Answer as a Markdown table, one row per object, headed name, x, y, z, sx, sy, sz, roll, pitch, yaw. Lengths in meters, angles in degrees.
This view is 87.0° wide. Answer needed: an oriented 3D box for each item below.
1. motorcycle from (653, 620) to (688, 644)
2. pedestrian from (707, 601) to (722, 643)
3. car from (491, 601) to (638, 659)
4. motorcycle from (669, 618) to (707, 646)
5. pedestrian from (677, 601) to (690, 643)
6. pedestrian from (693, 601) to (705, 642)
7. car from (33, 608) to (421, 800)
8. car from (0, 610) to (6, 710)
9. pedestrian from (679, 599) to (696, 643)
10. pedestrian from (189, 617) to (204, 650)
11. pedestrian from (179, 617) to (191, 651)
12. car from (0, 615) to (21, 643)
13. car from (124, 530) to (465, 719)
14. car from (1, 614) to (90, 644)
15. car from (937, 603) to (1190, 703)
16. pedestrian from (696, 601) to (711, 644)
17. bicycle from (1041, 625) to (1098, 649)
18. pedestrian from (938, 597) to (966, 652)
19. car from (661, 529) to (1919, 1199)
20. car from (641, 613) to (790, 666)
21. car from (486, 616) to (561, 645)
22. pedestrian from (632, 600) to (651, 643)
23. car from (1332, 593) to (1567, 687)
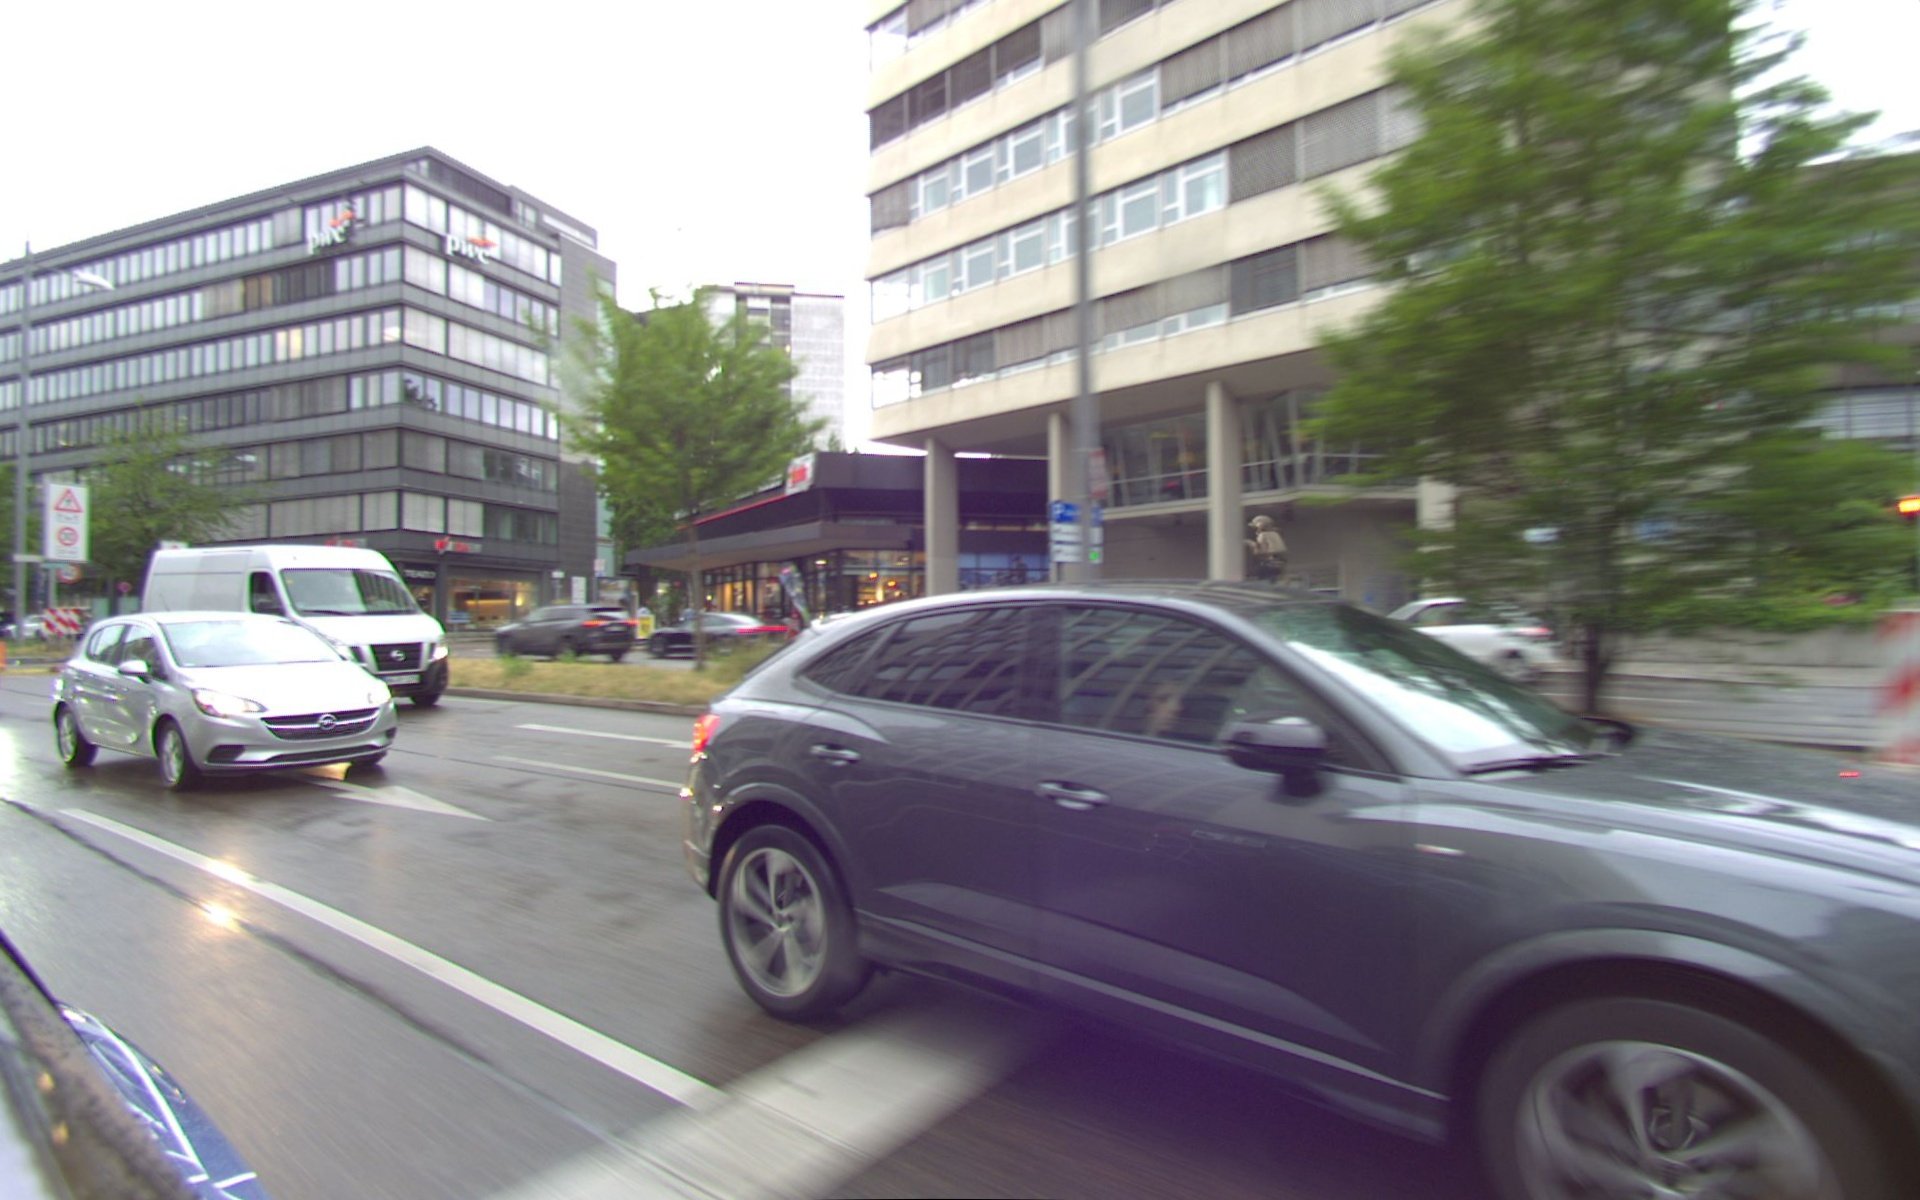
| name | x | y | z | sx | sy | sz | roll | pitch | yaw |
| --- | --- | --- | --- | --- | --- | --- | --- | --- | --- |
| motorcycle | -14.099 | 1.561 | 49.288 | 1.597 | 1.153 | 0.361 | 0 | -1 | -22 |
| pedestrian | -10.480 | 0.942 | 43.140 | 0.422 | 1.784 | 0.470 | 0 | -1 | -44 |
| car | -11.222 | 0.817 | 28.652 | 4.135 | 1.547 | 1.633 | -1 | 0 | 30 |
| motorcycle | -12.507 | 1.475 | 46.540 | 1.641 | 1.242 | 0.361 | -1 | -1 | -13 |
| pedestrian | -11.804 | 0.947 | 43.184 | 0.438 | 1.784 | 0.323 | -1 | -1 | 44 |
| pedestrian | -11.314 | 0.940 | 43.882 | 0.323 | 1.784 | 0.358 | 0 | -1 | -44 |
| car | -6.940 | 0.826 | 9.496 | 3.862 | 1.446 | 1.636 | -1 | 0 | 32 |
| car | -15.961 | 0.894 | 14.832 | 4.077 | 1.446 | 1.760 | -1 | 0 | 29 |
| pedestrian | -11.344 | 0.869 | 42.068 | 0.548 | 1.784 | 0.405 | 0 | -1 | -45 |
| pedestrian | -47.307 | 2.065 | 62.688 | 0.458 | 2.029 | 0.571 | -1 | -1 | 21 |
| pedestrian | -46.624 | 2.043 | 60.888 | 0.295 | 2.029 | 0.537 | -1 | -1 | 21 |
| car | -54.475 | 1.631 | 56.119 | 4.079 | 1.518 | 1.985 | -1 | -1 | 22 |
| car | -10.141 | 0.352 | 15.307 | 5.454 | 2.459 | 1.934 | -1 | 0 | 28 |
| car | -48.520 | 1.518 | 53.690 | 3.973 | 1.518 | 1.985 | -1 | -1 | 22 |
| car | 1.601 | 0.771 | 16.464 | 3.867 | 1.396 | 1.672 | 0 | 0 | 41 |
| pedestrian | -10.833 | 0.945 | 42.753 | 0.422 | 1.784 | 0.470 | 0 | -1 | -44 |
| bicycle | 4.193 | 1.425 | 38.848 | 2.180 | 0.866 | 0.456 | 0 | 0 | 27 |
| pedestrian | -0.254 | 0.775 | 32.181 | 0.756 | 1.696 | 0.676 | -1 | -1 | 14 |
| car | 0.984 | 0.659 | 3.243 | 4.267 | 1.533 | 1.632 | -1 | 0 | 40 |
| car | -7.262 | 1.113 | 29.903 | 4.400 | 1.389 | 1.847 | 0 | 0 | 35 |
| car | -24.983 | 1.724 | 58.032 | 1.838 | 1.596 | 3.735 | -1 | -1 | 23 |
| pedestrian | -13.284 | 0.885 | 42.222 | 0.529 | 1.784 | 0.550 | 0 | -1 | -44 |
| car | 9.136 | 0.671 | 19.017 | 3.715 | 1.583 | 1.622 | 0 | 0 | 39 |
